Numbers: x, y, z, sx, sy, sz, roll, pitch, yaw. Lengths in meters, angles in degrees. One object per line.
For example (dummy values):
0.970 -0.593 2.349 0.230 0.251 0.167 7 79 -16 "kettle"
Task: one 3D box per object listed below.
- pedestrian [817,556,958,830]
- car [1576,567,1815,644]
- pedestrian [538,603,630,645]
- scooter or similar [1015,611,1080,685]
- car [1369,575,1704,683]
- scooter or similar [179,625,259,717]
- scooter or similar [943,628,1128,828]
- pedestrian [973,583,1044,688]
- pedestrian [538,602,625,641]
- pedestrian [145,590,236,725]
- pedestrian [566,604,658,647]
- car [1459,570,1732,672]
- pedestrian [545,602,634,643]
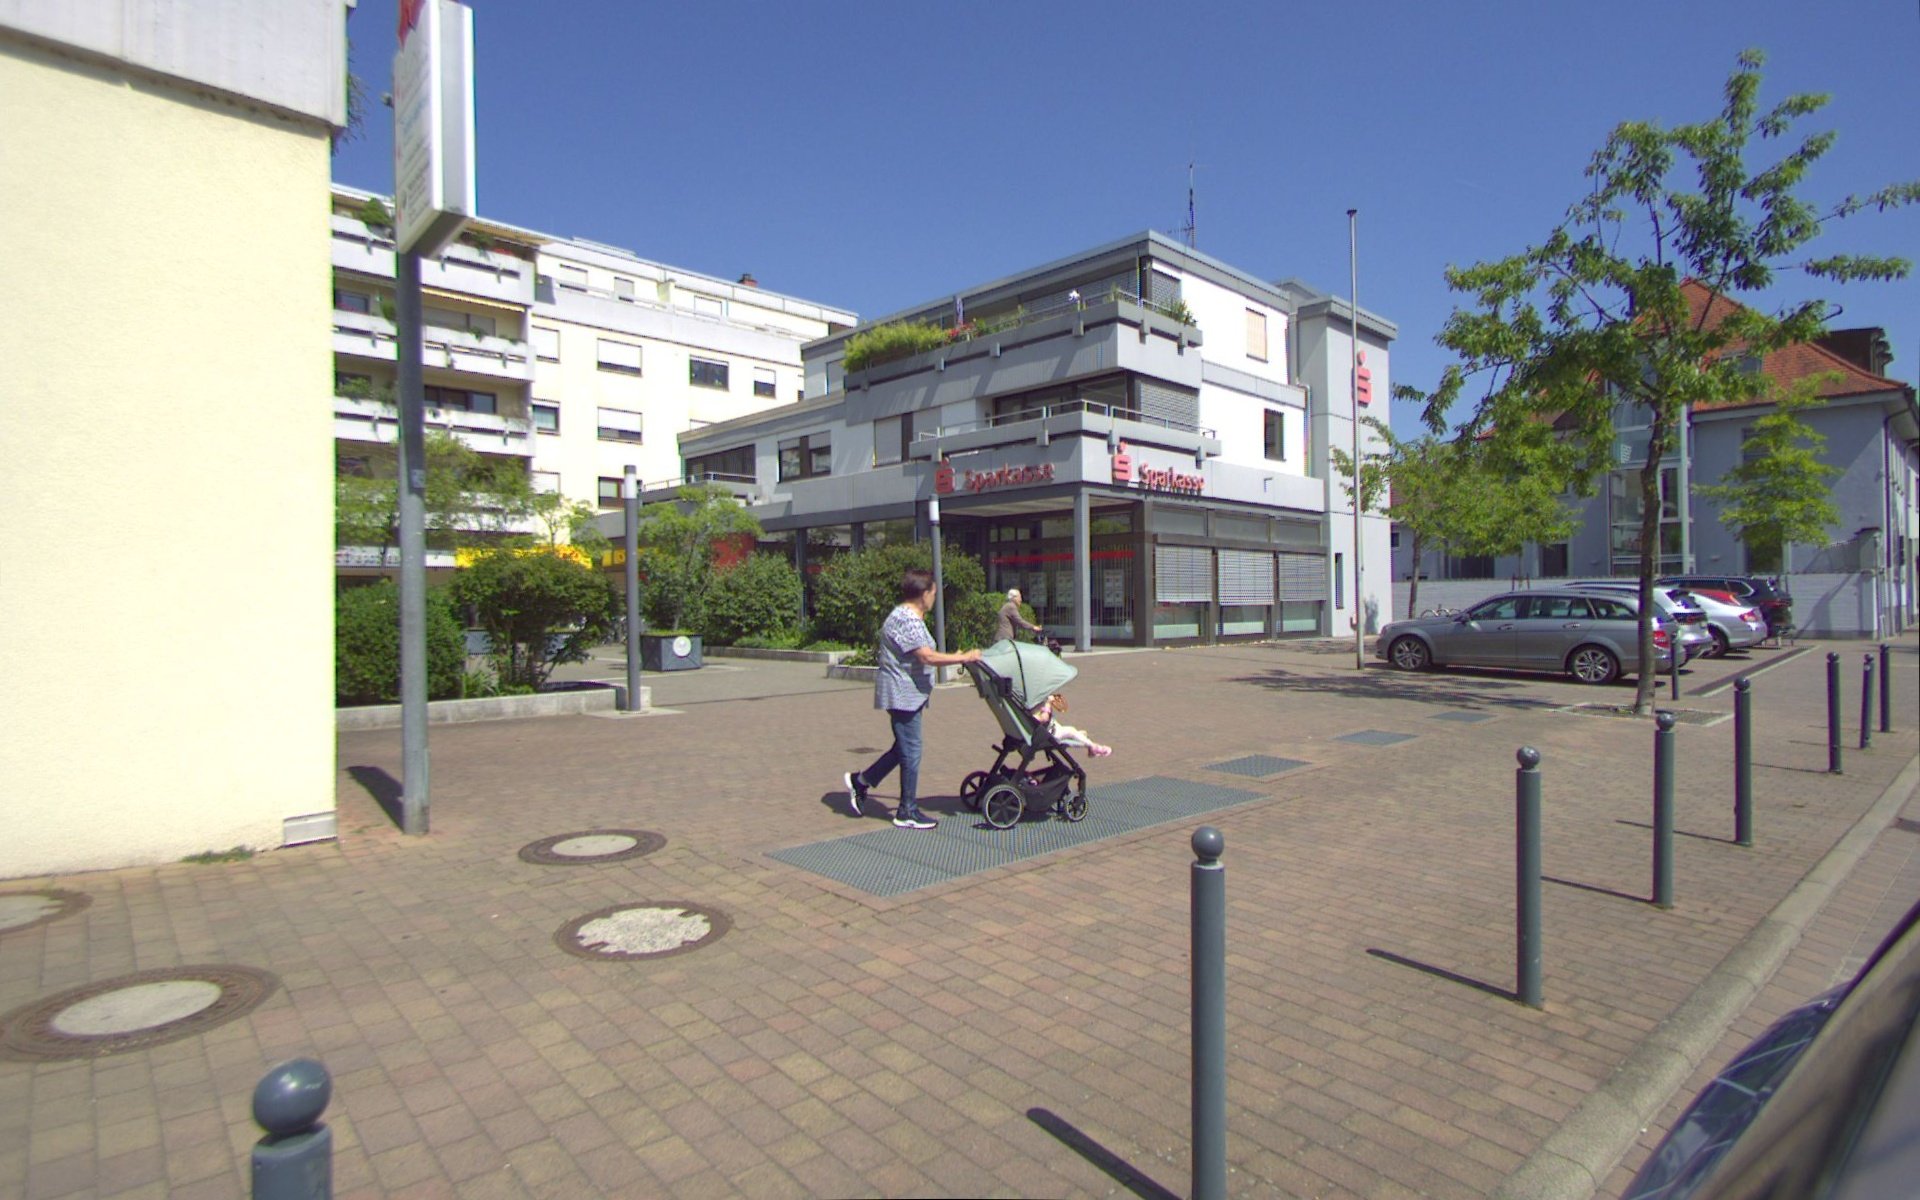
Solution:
-0.458 0.523 6.121 0.785 1.540 0.707 -1 0 -7 "pedestrian"
18.723 0.069 25.909 2.112 1.793 4.635 0 1 -43 "car"
-12.445 0.783 33.574 0.982 1.290 2.736 -1 0 40 "pedestrian"
1.344 0.715 15.556 0.790 1.088 0.591 0 -1 -34 "scooter or similar"
9.522 0.367 16.966 4.575 1.531 1.887 2 2 43 "car"
-9.256 0.867 12.671 0.578 1.088 0.807 -1 0 -17 "scooter or similar"
0.440 0.752 6.227 1.022 1.120 0.628 -1 0 -6 "scooter or similar"
0.726 0.510 15.143 0.795 1.516 0.669 0 -1 -31 "pedestrian"
-13.212 0.720 35.426 0.982 1.290 2.736 -1 0 40 "pedestrian"
-9.026 0.648 11.903 0.606 1.516 0.813 -1 0 -17 "pedestrian"
-11.332 0.802 33.076 0.982 1.290 2.736 -1 0 40 "pedestrian"
11.728 0.293 18.853 1.827 1.592 3.990 -1 3 -45 "car"
-12.694 0.752 34.752 0.982 1.290 2.736 -1 0 40 "pedestrian"
